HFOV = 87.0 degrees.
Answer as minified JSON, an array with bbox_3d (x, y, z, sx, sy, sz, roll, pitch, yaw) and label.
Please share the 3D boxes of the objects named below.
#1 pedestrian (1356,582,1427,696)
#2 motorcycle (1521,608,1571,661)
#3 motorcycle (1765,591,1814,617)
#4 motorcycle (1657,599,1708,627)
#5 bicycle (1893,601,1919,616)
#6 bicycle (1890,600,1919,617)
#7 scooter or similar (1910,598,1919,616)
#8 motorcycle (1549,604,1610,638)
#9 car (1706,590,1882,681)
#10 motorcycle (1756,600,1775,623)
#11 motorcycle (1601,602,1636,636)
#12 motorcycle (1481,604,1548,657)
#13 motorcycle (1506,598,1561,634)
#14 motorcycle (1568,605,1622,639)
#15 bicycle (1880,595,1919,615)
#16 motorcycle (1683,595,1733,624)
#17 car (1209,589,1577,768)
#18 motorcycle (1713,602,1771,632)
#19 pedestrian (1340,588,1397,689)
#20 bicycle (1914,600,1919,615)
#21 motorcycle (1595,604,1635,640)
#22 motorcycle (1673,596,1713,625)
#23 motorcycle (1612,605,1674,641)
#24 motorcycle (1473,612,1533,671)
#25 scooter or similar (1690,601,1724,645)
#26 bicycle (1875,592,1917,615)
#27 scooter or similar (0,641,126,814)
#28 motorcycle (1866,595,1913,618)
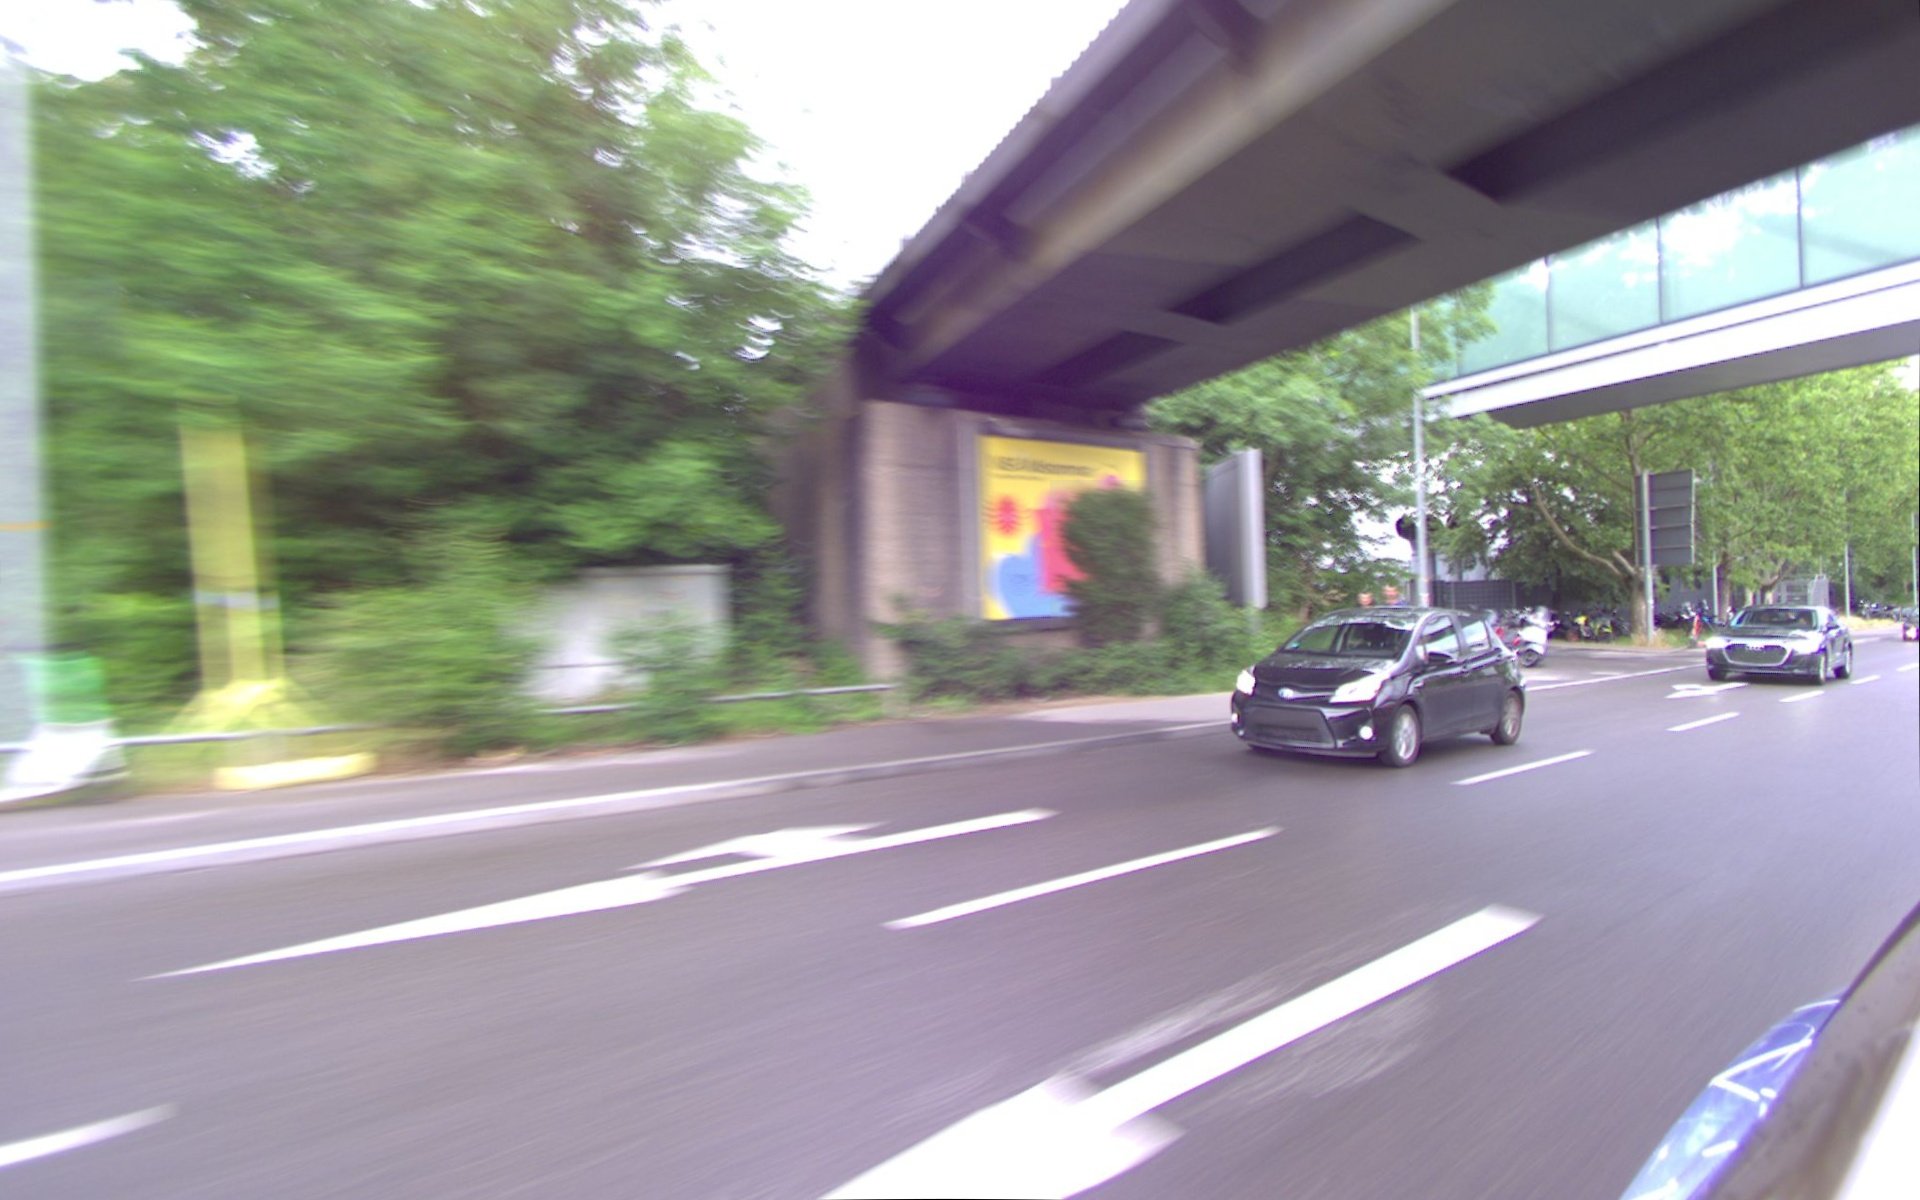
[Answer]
[{"bbox_3d":[6.851,0.597,16.081,0.874,1.743,0.613,0,0,-30],"label":"pedestrian"},{"bbox_3d":[14.351,0.820,24.761,1.911,1.228,0.470,-1,0,-42],"label":"motorcycle"},{"bbox_3d":[39.452,0.179,48.142,0.483,1.165,1.659,-1,-2,-31],"label":"motorcycle"},{"bbox_3d":[34.994,0.634,49.025,0.482,1.274,1.920,-1,-2,-33],"label":"motorcycle"},{"bbox_3d":[62.176,0.527,66.239,0.386,0.970,1.555,0,0,-39],"label":"bicycle"},{"bbox_3d":[60.733,0.543,64.921,0.386,1.018,1.555,0,0,-39],"label":"bicycle"},{"bbox_3d":[60.378,0.459,63.411,0.307,1.105,1.214,0,0,-43],"label":"scooter or similar"},{"bbox_3d":[24.519,0.824,40.078,2.234,1.295,0.522,-1,0,-9],"label":"motorcycle"},{"bbox_3d":[17.456,0.653,21.071,5.510,1.565,1.818,-2,0,-40],"label":"car"},{"bbox_3d":[43.060,0.606,54.125,0.474,1.160,1.877,-3,-2,30],"label":"motorcycle"},{"bbox_3d":[26.670,0.752,40.986,1.956,1.295,0.646,-1,0,-40],"label":"motorcycle"},{"bbox_3d":[14.606,0.785,26.710,0.536,1.314,1.946,0,0,-5],"label":"motorcycle"},{"bbox_3d":[21.480,0.597,37.901,2.028,1.296,0.350,0,-1,-11],"label":"motorcycle"},{"bbox_3d":[24.488,0.834,39.024,1.816,1.296,0.522,0,-1,-8],"label":"motorcycle"},{"bbox_3d":[58.963,0.314,63.497,0.440,1.182,1.789,0,0,-45],"label":"bicycle"},{"bbox_3d":[37.967,0.494,51.386,0.498,1.382,1.929,-1,-2,-44],"label":"motorcycle"},{"bbox_3d":[4.819,0.692,10.935,4.559,1.489,1.748,-2,-1,-40],"label":"car"},{"bbox_3d":[32.136,0.677,41.596,1.842,1.206,0.515,-1,-1,36],"label":"motorcycle"},{"bbox_3d":[6.766,0.621,16.772,0.567,1.616,0.653,0,0,-28],"label":"pedestrian"},{"bbox_3d":[64.047,0.484,66.756,0.386,1.018,1.555,0,0,-39],"label":"bicycle"},{"bbox_3d":[23.287,0.767,36.001,0.621,1.269,1.845,-1,0,15],"label":"motorcycle"},{"bbox_3d":[36.425,0.541,50.284,0.498,1.382,1.499,-1,-2,-44],"label":"motorcycle"},{"bbox_3d":[24.813,0.821,36.778,1.842,1.269,0.622,-1,-1,36],"label":"motorcycle"},{"bbox_3d":[11.355,0.853,21.151,1.787,1.151,0.470,-1,0,-40],"label":"motorcycle"},{"bbox_3d":[23.422,0.706,31.711,1.281,1.315,0.313,-1,0,-28],"label":"scooter or similar"},{"bbox_3d":[57.575,0.211,62.270,1.854,1.365,0.441,0,0,39],"label":"bicycle"},{"bbox_3d":[-6.507,0.865,6.885,1.252,1.144,0.256,0,-2,-23],"label":"scooter or similar"},{"bbox_3d":[54.828,0.380,59.741,0.432,1.289,2.018,0,0,-27],"label":"motorcycle"}]
